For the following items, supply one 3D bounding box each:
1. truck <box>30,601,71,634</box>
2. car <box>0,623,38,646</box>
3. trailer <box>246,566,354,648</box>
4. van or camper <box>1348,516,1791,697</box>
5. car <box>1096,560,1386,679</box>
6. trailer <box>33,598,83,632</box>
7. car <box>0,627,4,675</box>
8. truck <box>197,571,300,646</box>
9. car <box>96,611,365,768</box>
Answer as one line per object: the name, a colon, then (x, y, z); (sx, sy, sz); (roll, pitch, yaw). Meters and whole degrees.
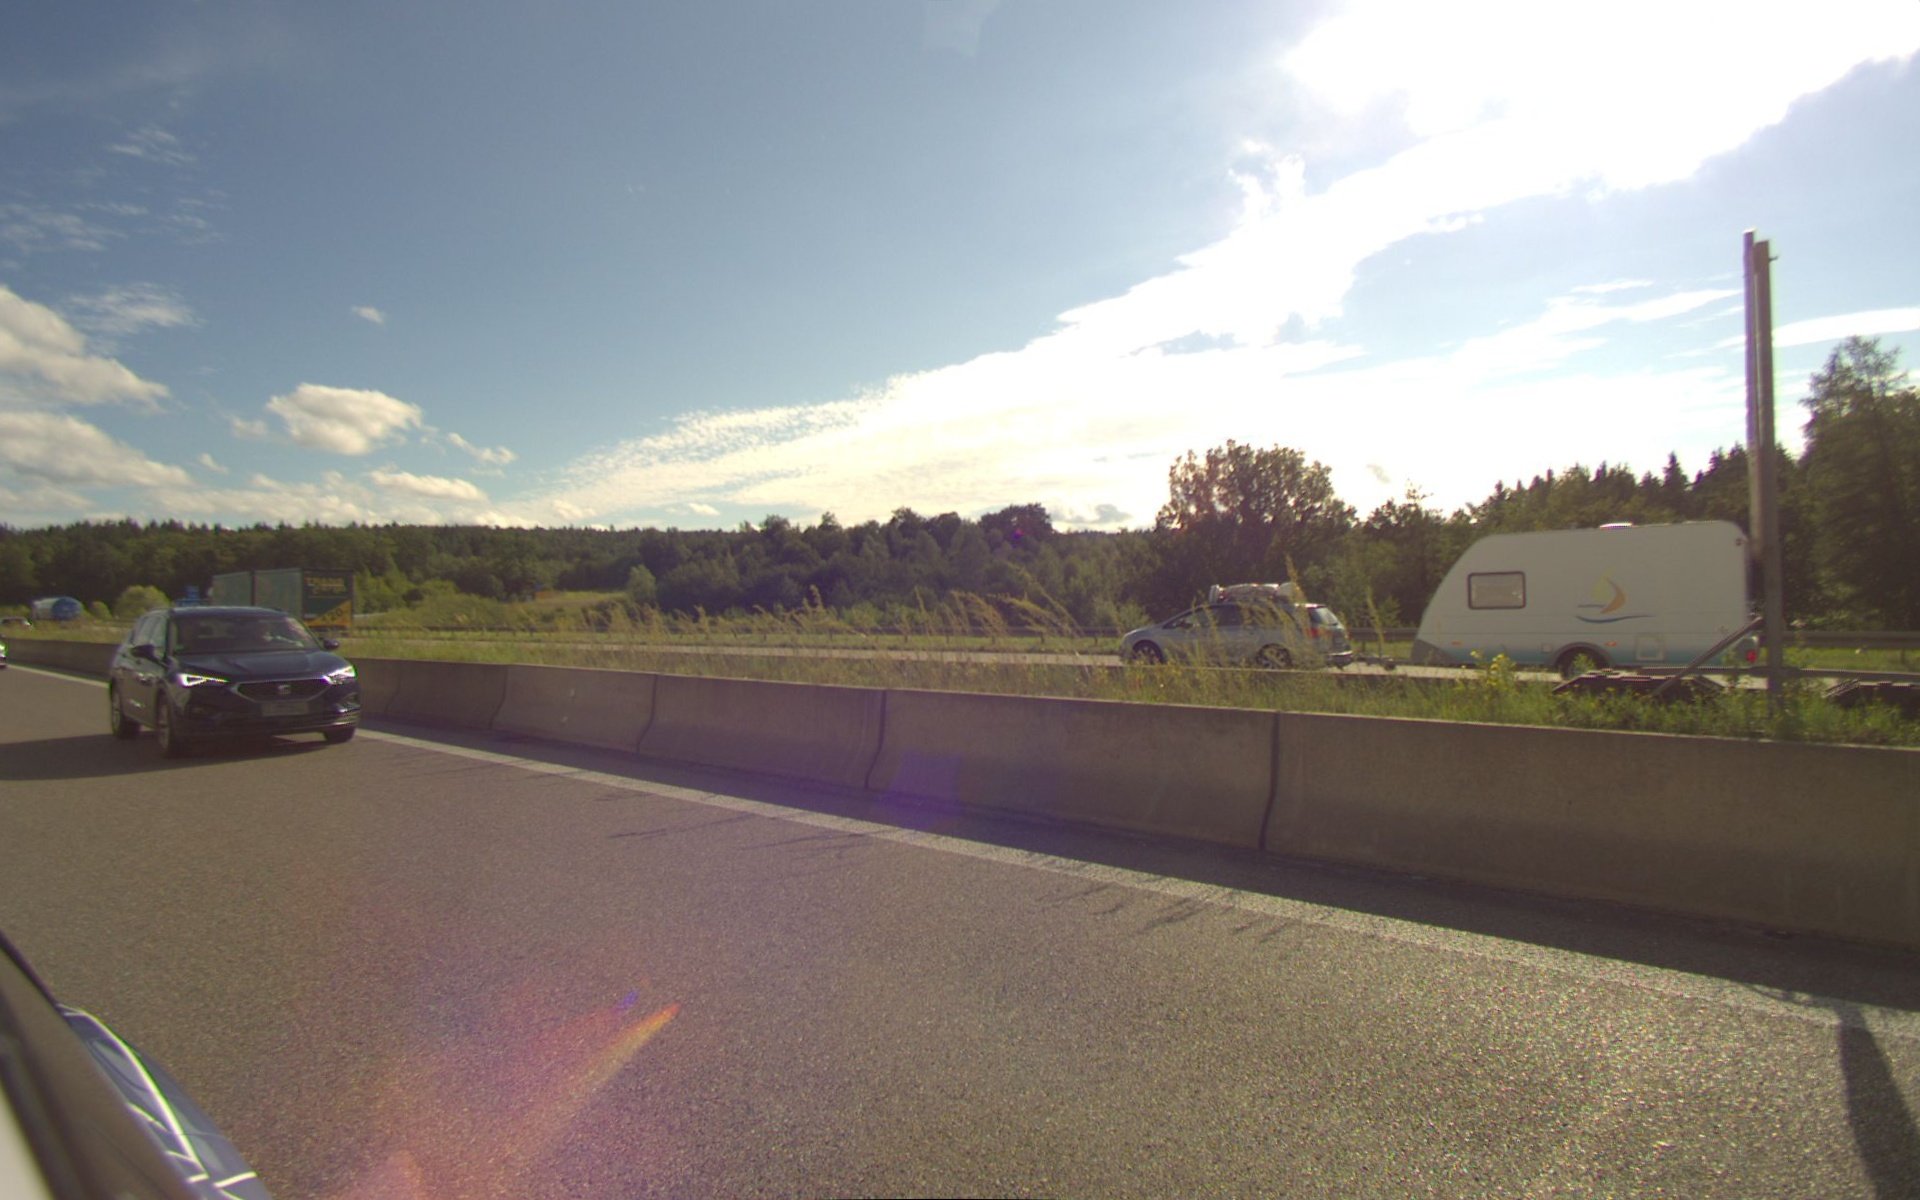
truck: (-98.696, 1.890, 109.763); (6.100, 3.297, 2.295); (-1, 3, 40)
car: (-73.464, 2.695, 78.982); (3.997, 1.593, 1.652); (-1, 3, 41)
trailer: (-36.929, 0.411, 56.496); (8.545, 4.276, 2.698); (-1, -1, 40)
van or camper: (9.674, 0.111, 16.425); (5.848, 2.432, 2.434); (-1, 0, 40)
car: (5.460, 0.360, 20.065); (5.078, 2.073, 2.217); (-1, 0, 40)
trailer: (-95.346, 1.609, 106.880); (10.867, 3.308, 2.298); (-1, 3, 40)
car: (-31.794, 1.600, 32.113); (4.156, 1.471, 1.756); (-1, -1, 41)
truck: (-44.131, 0.560, 62.595); (10.336, 4.276, 2.684); (-1, -1, 40)
car: (-8.839, 0.924, 12.130); (4.156, 1.554, 1.756); (-1, -1, 41)
